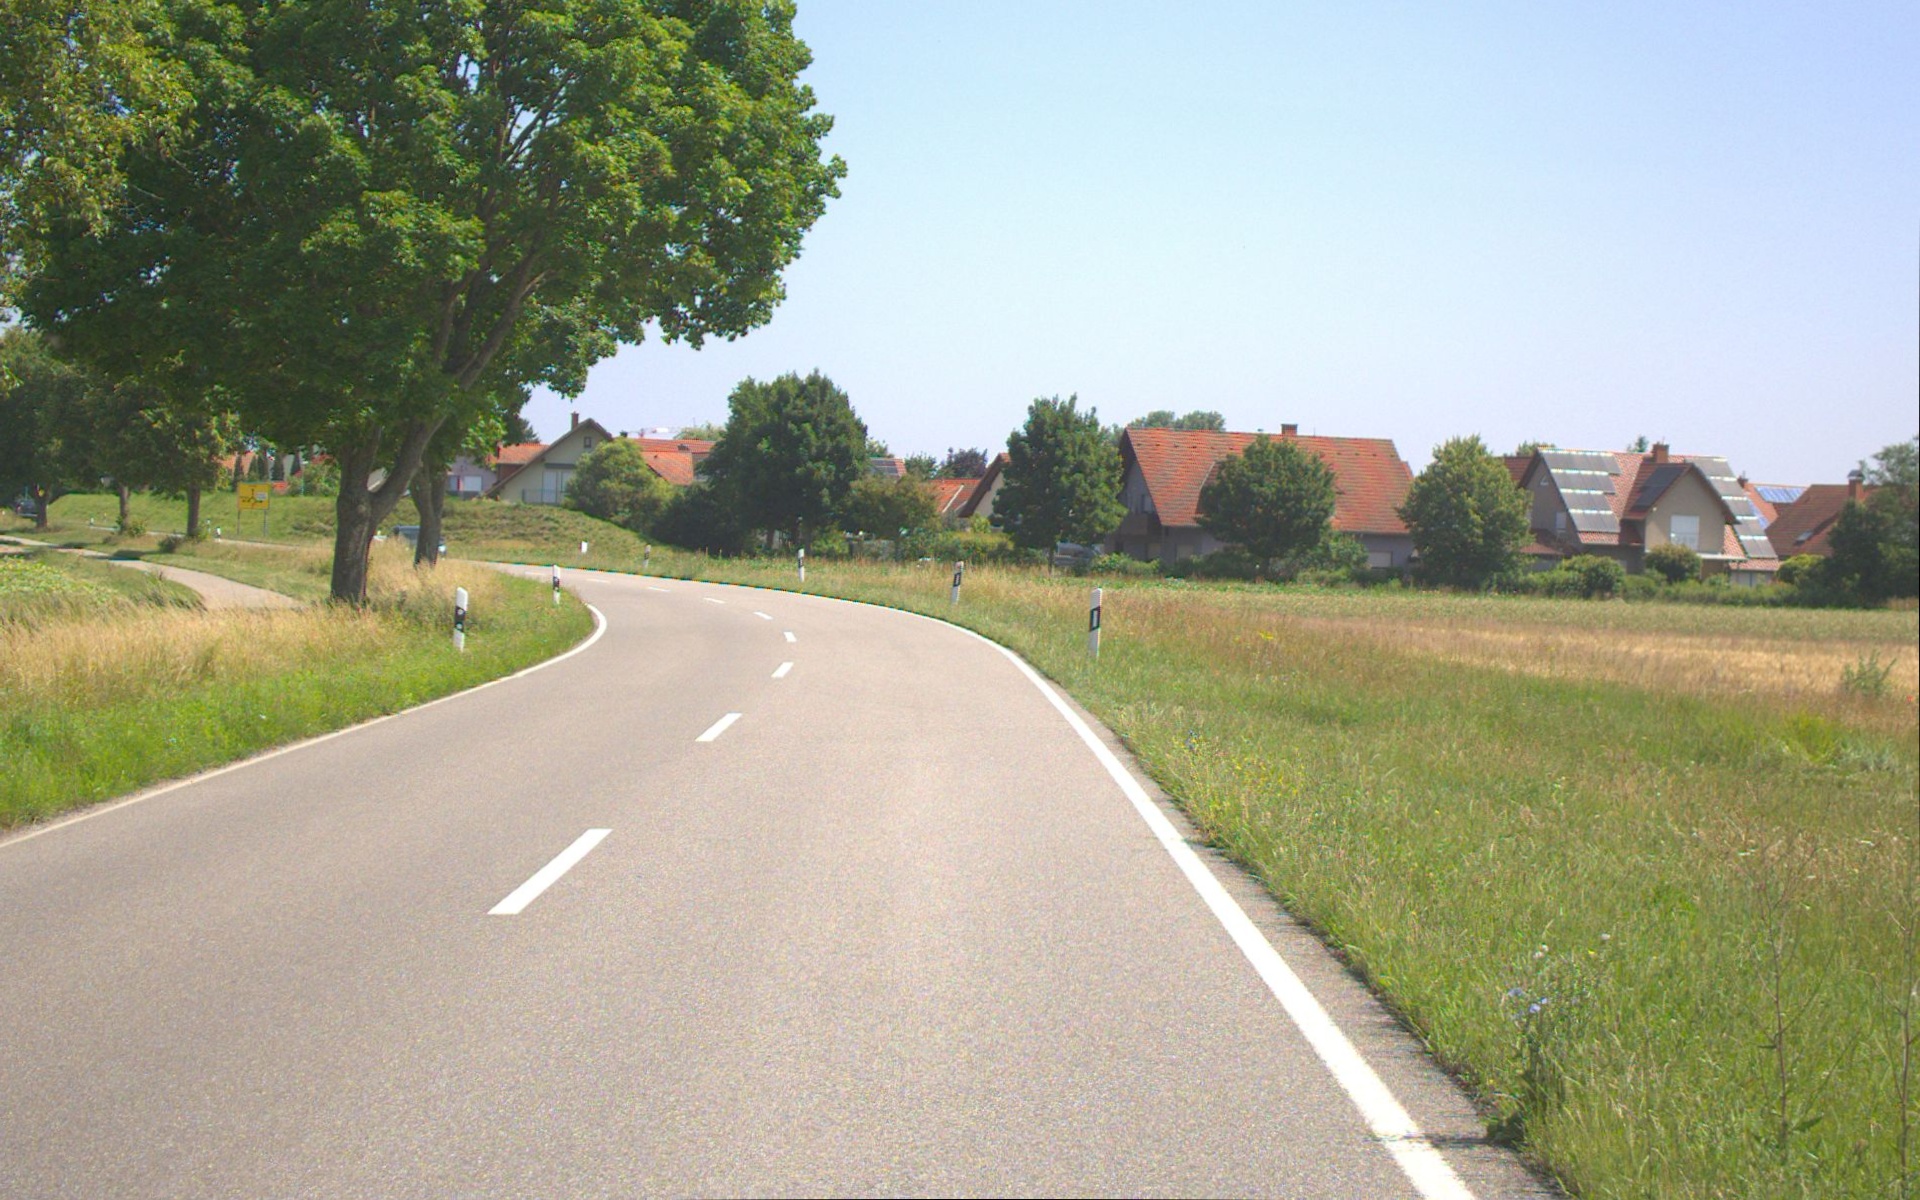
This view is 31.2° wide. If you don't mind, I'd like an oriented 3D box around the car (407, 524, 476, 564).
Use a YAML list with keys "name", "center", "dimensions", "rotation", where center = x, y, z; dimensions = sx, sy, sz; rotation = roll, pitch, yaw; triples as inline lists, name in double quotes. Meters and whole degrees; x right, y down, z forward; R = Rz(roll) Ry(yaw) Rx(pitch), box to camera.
- name: "car"
  center: [-18.859, -2.044, 124.909]
  dimensions: [1.643, 1.424, 4.181]
  rotation: [-1, 1, -20]
